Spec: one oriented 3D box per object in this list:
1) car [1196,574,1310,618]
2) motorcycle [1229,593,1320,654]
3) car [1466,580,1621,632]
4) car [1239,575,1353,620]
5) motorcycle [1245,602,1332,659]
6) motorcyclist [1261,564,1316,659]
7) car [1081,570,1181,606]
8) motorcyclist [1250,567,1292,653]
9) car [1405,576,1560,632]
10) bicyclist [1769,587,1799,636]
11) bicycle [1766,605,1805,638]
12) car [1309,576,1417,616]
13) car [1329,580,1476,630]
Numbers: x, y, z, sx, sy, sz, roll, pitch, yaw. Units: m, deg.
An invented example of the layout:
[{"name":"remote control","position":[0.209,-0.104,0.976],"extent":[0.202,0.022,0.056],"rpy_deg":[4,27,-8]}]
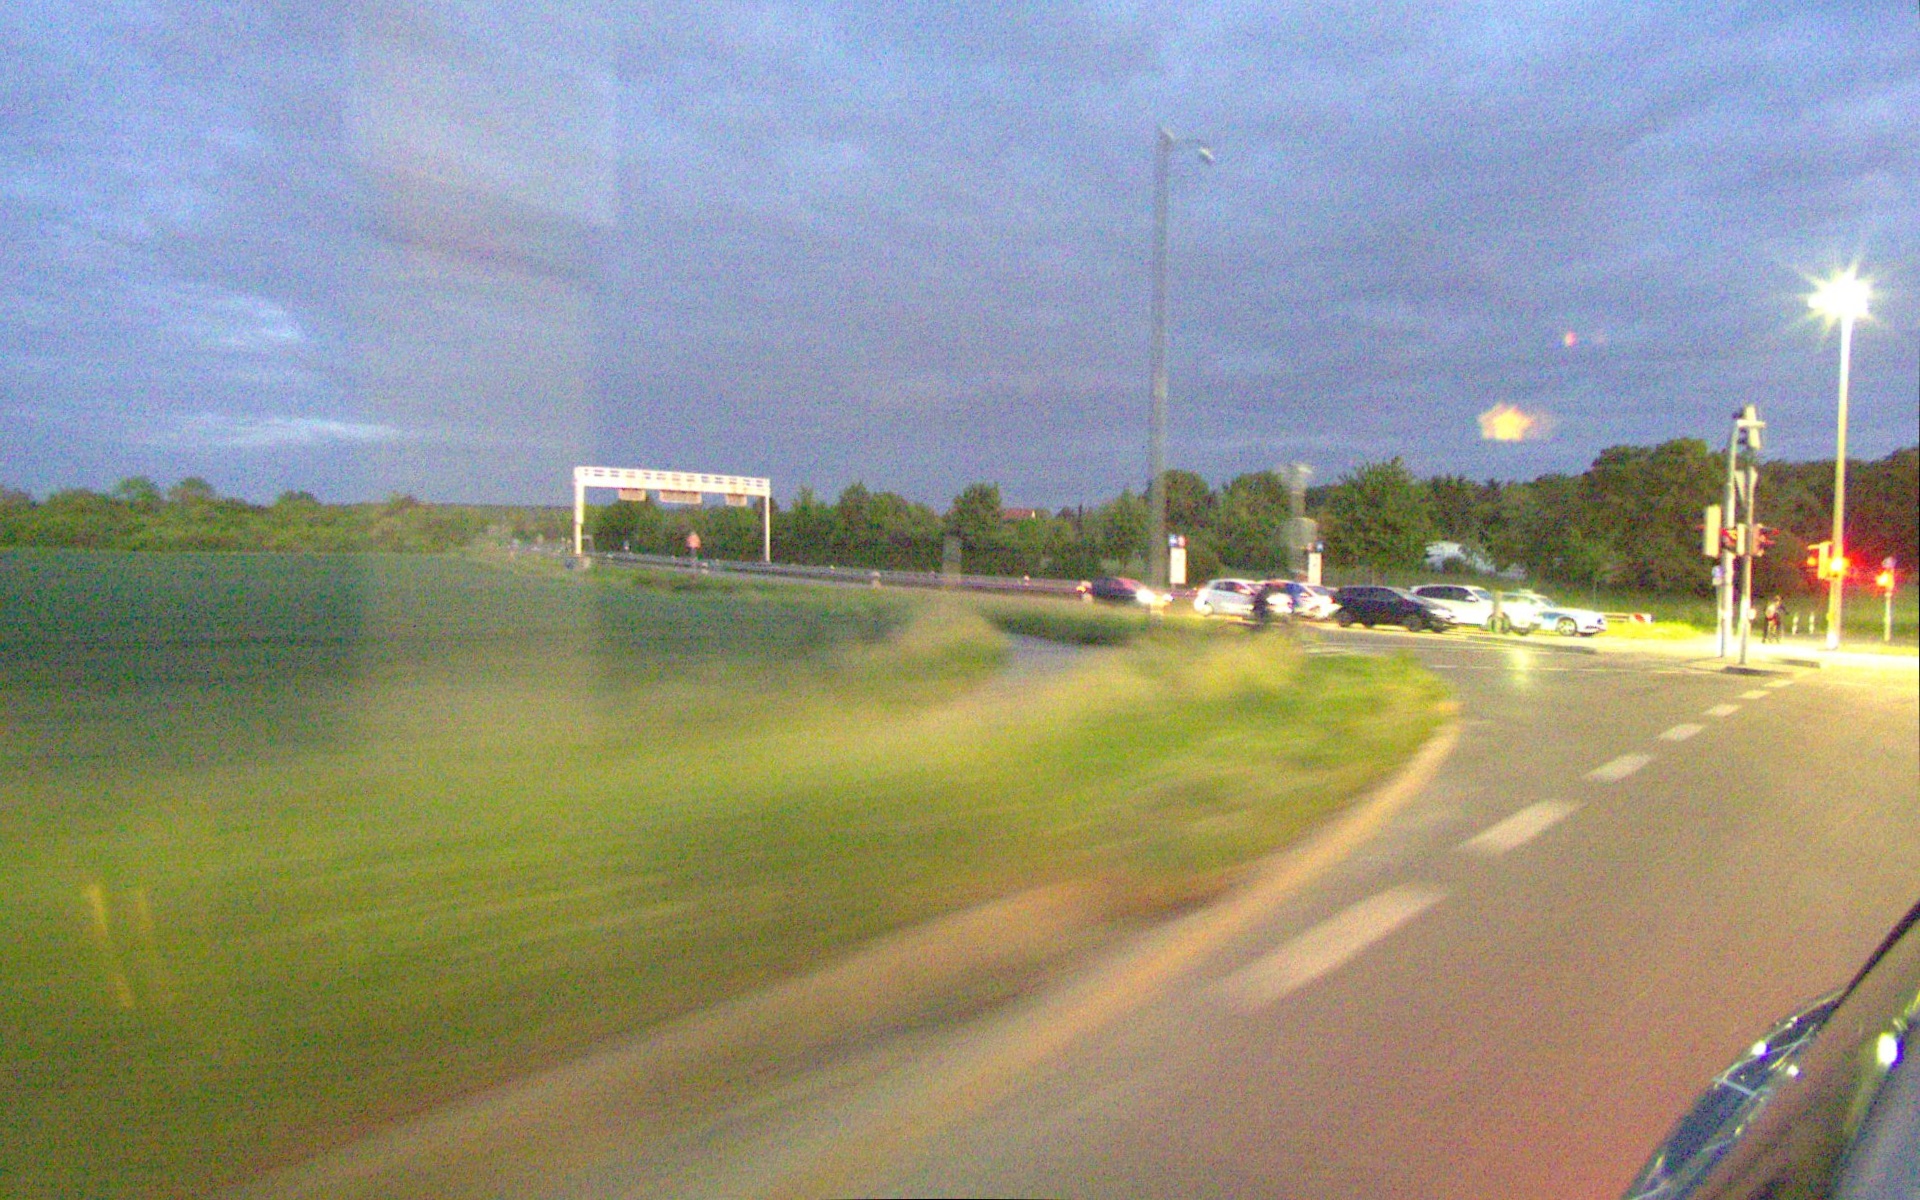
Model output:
[{"name":"car","position":[11.392,-0.179,39.573],"extent":[1.802,1.543,4.002],"rpy_deg":[0,2,-34]},{"name":"motorcycle","position":[6.709,0.502,21.578],"extent":[1.798,1.196,0.845],"rpy_deg":[-2,2,20]},{"name":"car","position":[21.452,0.188,37.371],"extent":[1.822,1.653,4.588],"rpy_deg":[1,2,-34]},{"name":"car","position":[13.924,-0.129,42.169],"extent":[1.717,1.646,4.366],"rpy_deg":[2,2,-34]},{"name":"motorcycle","position":[6.674,0.616,20.554],"extent":[1.561,1.046,0.717],"rpy_deg":[-3,2,26]},{"name":"motorcyclist","position":[6.663,0.219,20.517],"extent":[0.861,1.831,0.909],"rpy_deg":[-3,2,26]},{"name":"car","position":[7.473,-0.536,44.646],"extent":[1.802,1.407,4.399],"rpy_deg":[0,2,-34]},{"name":"motorcyclist","position":[6.655,0.201,21.630],"extent":[0.780,1.780,0.680],"rpy_deg":[-2,2,20]},{"name":"car","position":[18.298,0.100,35.632],"extent":[1.877,1.703,4.423],"rpy_deg":[2,2,-34]},{"name":"bicyclist","position":[29.128,0.396,35.762],"extent":[0.982,1.672,0.603],"rpy_deg":[1,1,-41]},{"name":"bicycle","position":[29.245,0.763,35.827],"extent":[2.031,1.115,0.694],"rpy_deg":[1,1,-41]},{"name":"car","position":[16.981,-0.178,42.772],"extent":[1.744,1.499,3.913],"rpy_deg":[2,1,-33]},{"name":"car","position":[14.952,0.128,34.441],"extent":[1.751,1.463,4.294],"rpy_deg":[2,2,-33]}]
